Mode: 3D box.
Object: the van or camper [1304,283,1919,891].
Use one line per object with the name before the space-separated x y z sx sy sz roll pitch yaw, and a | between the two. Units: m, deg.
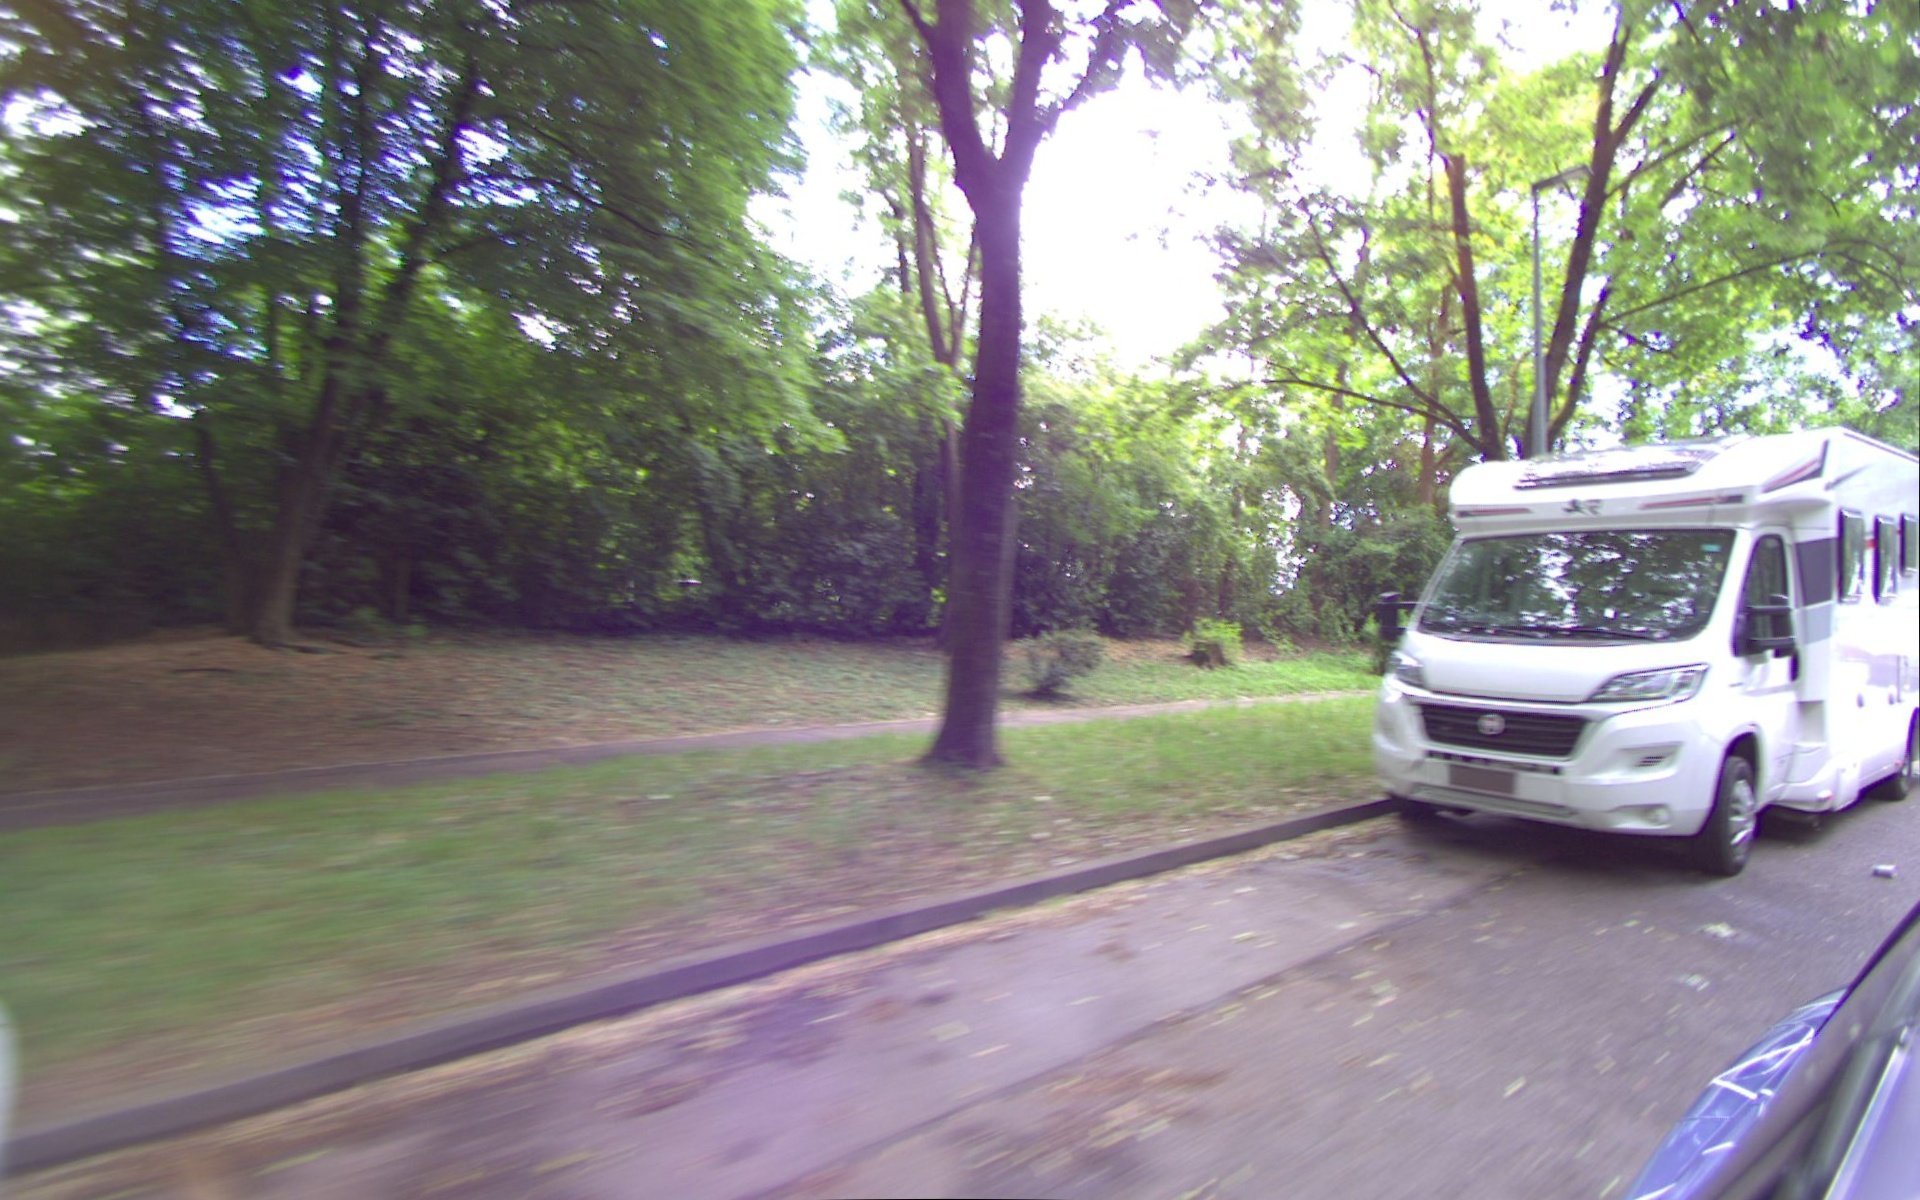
van or camper | 5.992 -0.045 8.192 7.256 3.018 2.431 0 -1 -37
